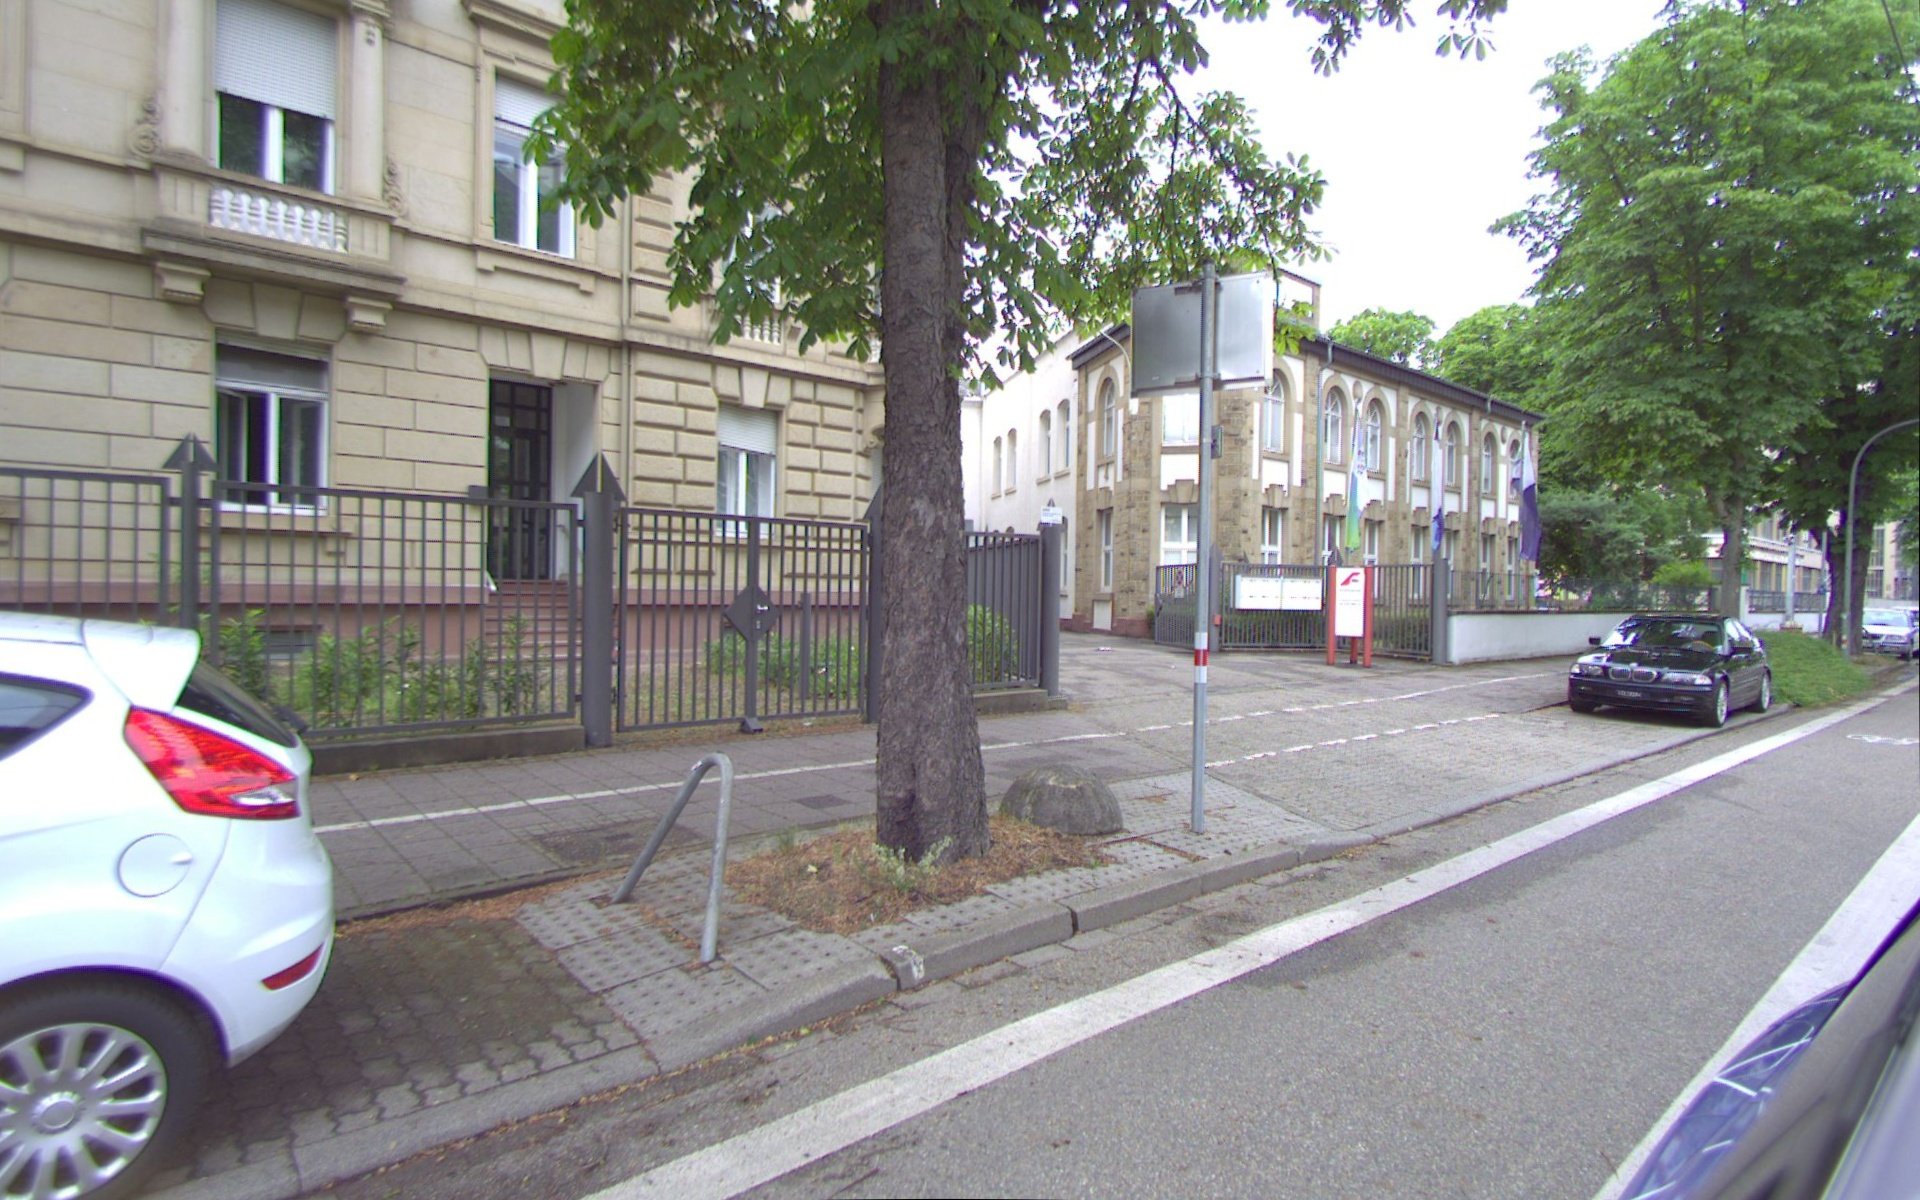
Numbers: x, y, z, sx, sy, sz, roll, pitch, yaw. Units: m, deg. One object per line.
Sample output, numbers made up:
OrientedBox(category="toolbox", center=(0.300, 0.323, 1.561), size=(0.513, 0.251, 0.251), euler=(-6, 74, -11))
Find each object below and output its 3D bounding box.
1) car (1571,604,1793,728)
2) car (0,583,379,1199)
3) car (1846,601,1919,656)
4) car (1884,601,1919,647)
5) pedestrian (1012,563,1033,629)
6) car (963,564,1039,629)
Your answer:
OrientedBox(category="car", center=(10.052, 0.798, 13.995), size=(3.769, 1.387, 1.606), euler=(0, 3, -41))
OrientedBox(category="car", center=(-3.505, 0.715, 2.150), size=(3.698, 1.453, 1.631), euler=(0, 3, -41))
OrientedBox(category="car", center=(26.616, 0.776, 28.753), size=(3.769, 1.387, 1.606), euler=(0, 3, -41))
OrientedBox(category="car", center=(31.892, 0.785, 33.378), size=(3.769, 1.442, 1.606), euler=(0, 3, -41))
OrientedBox(category="pedestrian", center=(1.818, -0.111, 29.403), size=(0.488, 1.898, 0.457), euler=(1, 0, -8))
OrientedBox(category="car", center=(1.219, -0.145, 31.983), size=(1.961, 1.909, 4.003), euler=(1, 1, -4))
